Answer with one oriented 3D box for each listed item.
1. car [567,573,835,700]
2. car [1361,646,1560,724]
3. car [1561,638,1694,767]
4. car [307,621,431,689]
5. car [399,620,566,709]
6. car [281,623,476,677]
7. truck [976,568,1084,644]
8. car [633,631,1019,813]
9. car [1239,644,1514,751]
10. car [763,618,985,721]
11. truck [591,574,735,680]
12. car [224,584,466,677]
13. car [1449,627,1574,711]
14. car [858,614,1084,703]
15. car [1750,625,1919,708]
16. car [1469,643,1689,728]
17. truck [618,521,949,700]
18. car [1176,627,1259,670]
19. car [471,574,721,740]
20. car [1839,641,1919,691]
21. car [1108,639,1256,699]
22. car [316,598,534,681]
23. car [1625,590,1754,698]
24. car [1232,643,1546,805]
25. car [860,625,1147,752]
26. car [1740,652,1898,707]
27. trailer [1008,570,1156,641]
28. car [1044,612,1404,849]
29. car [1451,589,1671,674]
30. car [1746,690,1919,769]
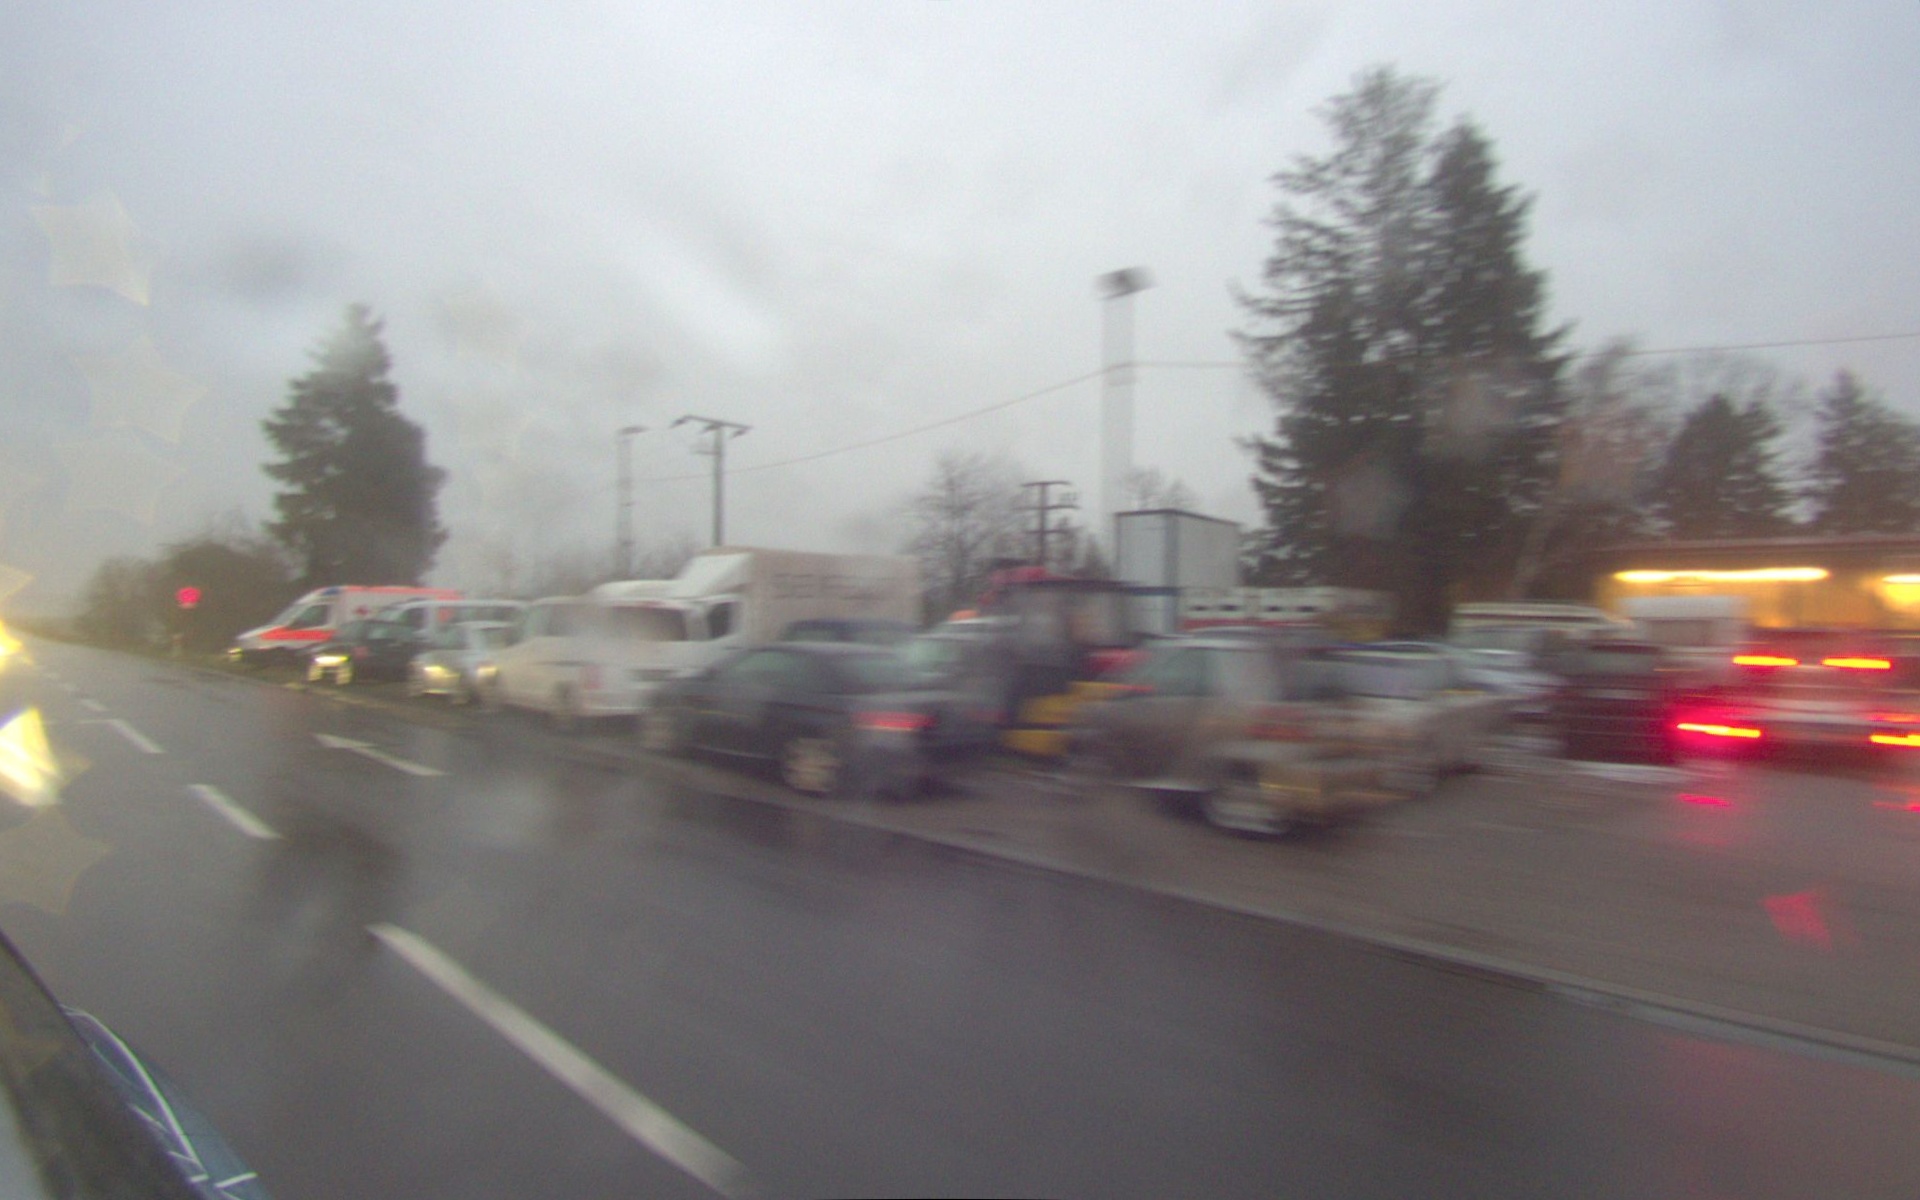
[{"bbox_3d":[-6.001,0.858,24.192,2.196,2.659,5.965,-2,-2,43],"label":"car"},{"bbox_3d":[9.435,1.554,19.158,3.162,1.342,1.394,-2,-4,37],"label":"car"},{"bbox_3d":[9.196,1.317,13.906,1.347,1.560,3.130,-2,-3,35],"label":"car"},{"bbox_3d":[-13.594,1.258,23.197,1.631,1.431,3.745,2,-4,-44],"label":"car"},{"bbox_3d":[-8.644,1.093,18.172,1.630,1.423,3.844,2,-2,-42],"label":"car"},{"bbox_3d":[-17.264,1.491,30.219,4.694,1.494,1.956,4,-4,-45],"label":"car"},{"bbox_3d":[2.734,0.230,38.634,2.226,2.717,4.675,-1,-1,31],"label":"truck"},{"bbox_3d":[-1.541,1.080,10.348,4.258,1.331,1.552,1,-2,44],"label":"car"},{"bbox_3d":[6.392,1.431,15.834,1.645,1.409,3.654,3,-3,-37],"label":"car"},{"bbox_3d":[-1.581,1.240,19.637,2.024,1.746,4.006,-1,-1,42],"label":"car"},{"bbox_3d":[-10.610,0.982,35.932,5.850,3.481,2.009,-1,-4,42],"label":"truck"},{"bbox_3d":[-19.095,1.006,31.726,6.085,2.652,2.177,3,-4,-45],"label":"car"},{"bbox_3d":[12.256,1.456,22.397,1.689,1.696,3.642,-1,-2,41],"label":"car"},{"bbox_3d":[0.287,0.938,17.824,1.814,1.388,4.006,-1,-1,42],"label":"car"},{"bbox_3d":[15.670,1.127,17.419,3.167,1.342,1.392,-2,-4,41],"label":"car"},{"bbox_3d":[11.764,1.561,19.309,3.432,1.416,1.519,-1,-2,38],"label":"car"},{"bbox_3d":[-3.436,0.253,21.216,2.335,3.166,6.782,-2,-2,44],"label":"truck"},{"bbox_3d":[7.975,1.459,31.239,1.344,1.227,2.770,-1,-2,42],"label":"car"},{"bbox_3d":[-5.383,0.735,14.628,1.813,2.029,4.489,1,-1,-42],"label":"car"},{"bbox_3d":[26.078,1.793,27.565,3.167,1.342,1.392,-2,-4,41],"label":"car"},{"bbox_3d":[5.267,1.600,24.117,3.162,1.342,1.394,-2,-4,37],"label":"car"},{"bbox_3d":[-15.154,1.157,28.887,5.086,2.167,2.060,4,-4,-45],"label":"car"},{"bbox_3d":[17.198,0.979,23.804,2.264,2.298,4.190,-1,-1,38],"label":"car"},{"bbox_3d":[5.055,1.245,11.524,1.783,1.448,4.702,-1,-3,43],"label":"car"},{"bbox_3d":[0.710,1.185,14.050,3.865,1.488,1.811,5,-4,-45],"label":"car"},{"bbox_3d":[21.634,1.964,25.537,2.982,1.181,1.403,-1,-2,43],"label":"car"},{"bbox_3d":[5.490,0.228,43.254,2.212,2.694,10.396,-1,-1,31],"label":"trailer"},{"bbox_3d":[2.094,0.956,8.589,1.156,1.657,2.877,2,-2,-36],"label":"car"},{"bbox_3d":[17.576,0.906,29.790,5.286,2.279,1.973,-1,-2,41],"label":"car"},{"bbox_3d":[11.183,1.589,12.515,2.264,0.803,0.982,-1,-3,41],"label":"car"}]
